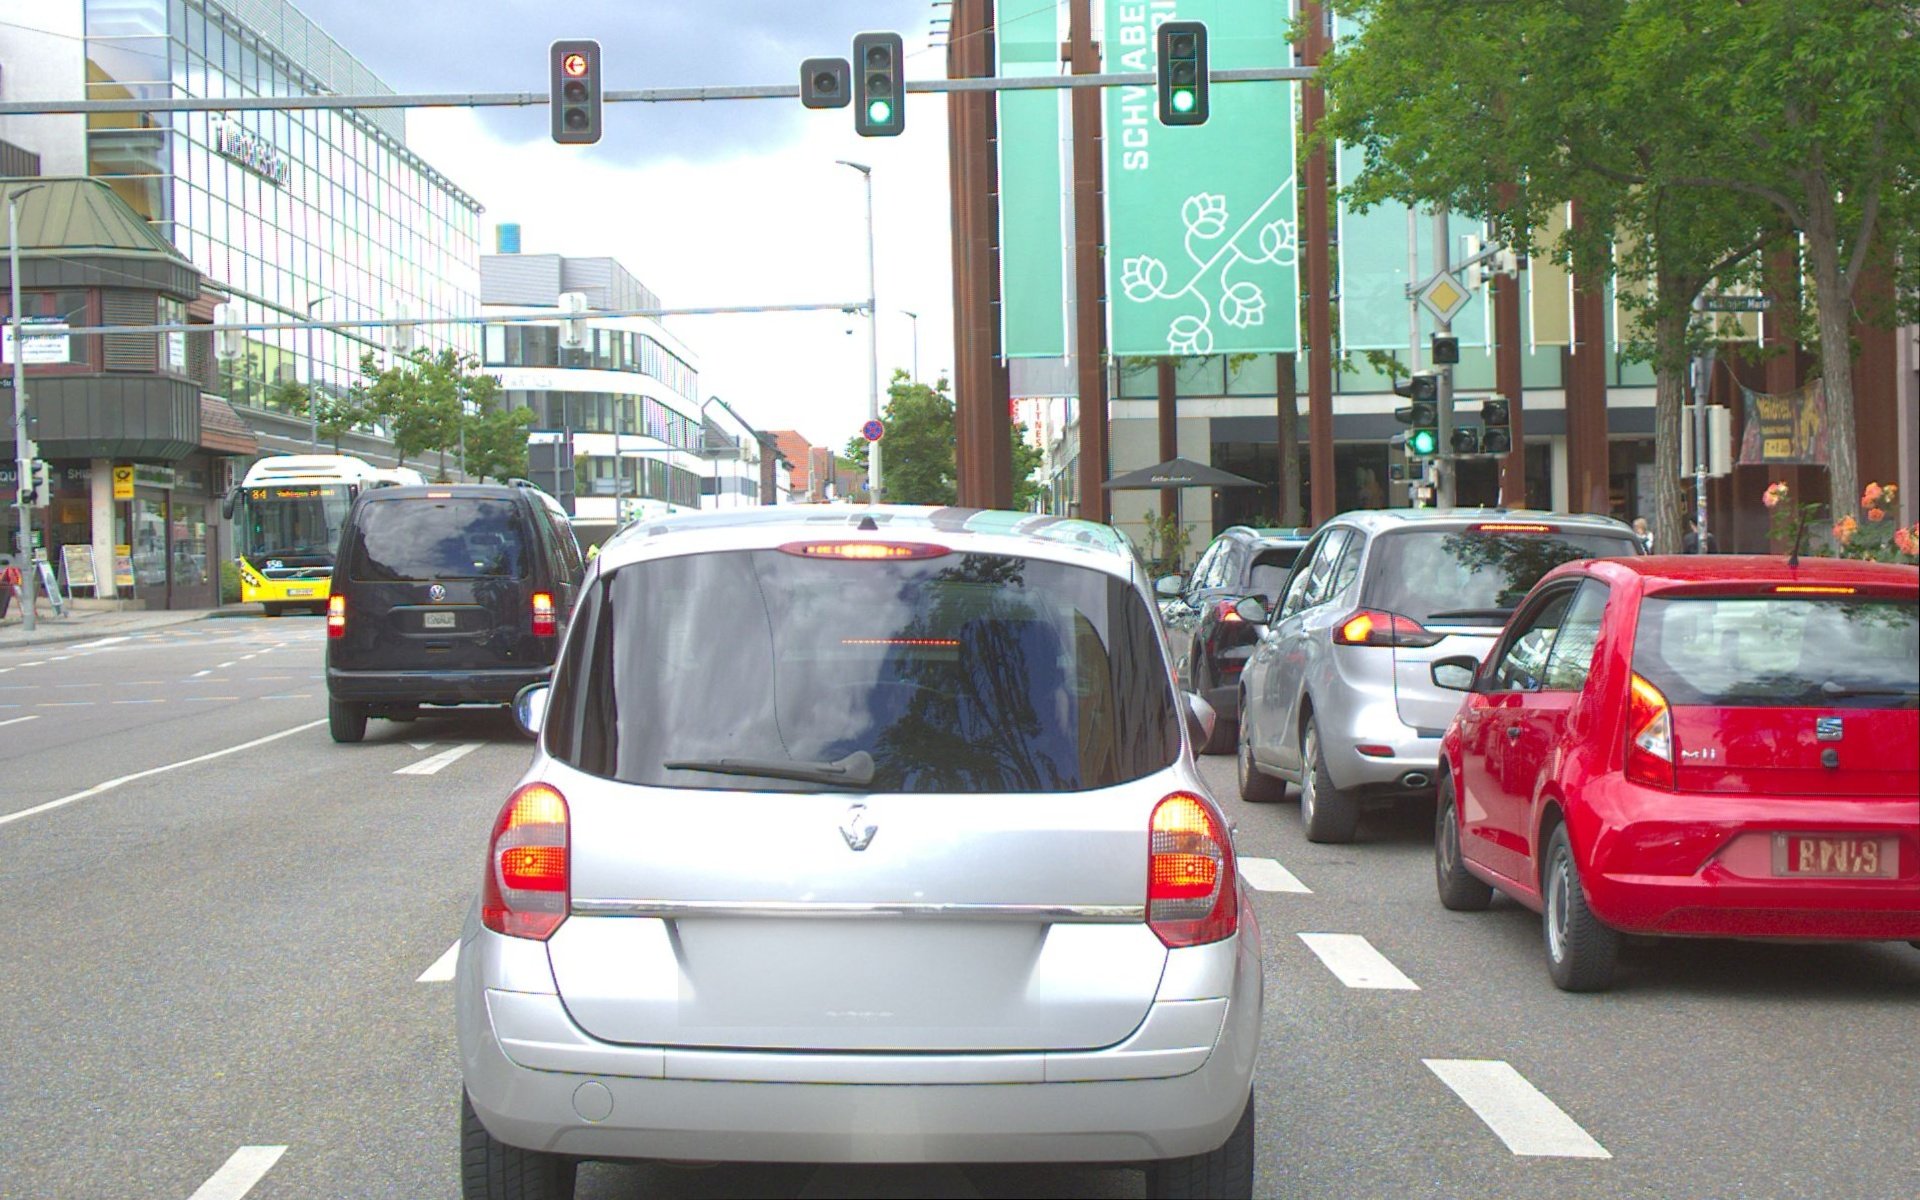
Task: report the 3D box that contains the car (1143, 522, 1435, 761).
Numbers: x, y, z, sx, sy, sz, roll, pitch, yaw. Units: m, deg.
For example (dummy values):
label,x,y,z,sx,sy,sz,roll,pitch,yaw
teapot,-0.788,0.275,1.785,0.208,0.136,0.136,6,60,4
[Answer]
label,x,y,z,sx,sy,sz,roll,pitch,yaw
car,2.331,0.246,25.208,1.586,1.589,3.868,1,1,-2

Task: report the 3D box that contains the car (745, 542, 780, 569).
label,x,y,z,sx,sy,sz,roll,pitch,yaw
car,-11.737,-2.659,204.389,1.801,1.535,4.065,0,1,1

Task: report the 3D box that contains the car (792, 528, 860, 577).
label,x,y,z,sx,sy,sz,roll,pitch,yaw
car,-4.626,-1.656,119.243,1.917,1.671,4.242,0,1,4

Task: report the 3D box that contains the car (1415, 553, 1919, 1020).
label,x,y,z,sx,sy,sz,roll,pitch,yaw
car,2.712,0.574,12.567,1.586,1.438,3.348,1,1,-1

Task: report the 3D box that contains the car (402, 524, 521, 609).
label,x,y,z,sx,sy,sz,roll,pitch,yaw
car,-10.363,-0.728,71.755,1.993,1.700,4.065,-1,1,-2

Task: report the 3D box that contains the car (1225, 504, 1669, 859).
label,x,y,z,sx,sy,sz,roll,pitch,yaw
car,2.422,0.344,17.990,1.586,1.628,3.917,1,1,-2

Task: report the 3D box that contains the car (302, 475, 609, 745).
label,x,y,z,sx,sy,sz,roll,pitch,yaw
car,-3.715,0.023,26.034,1.744,1.849,4.634,1,1,-2

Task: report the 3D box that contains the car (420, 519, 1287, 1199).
label,x,y,z,sx,sy,sz,roll,pitch,yaw
car,-0.230,0.577,8.234,1.640,1.522,3.394,0,1,-1

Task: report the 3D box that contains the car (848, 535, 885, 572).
label,x,y,z,sx,sy,sz,roll,pitch,yaw
car,-5.145,-2.562,188.240,1.993,1.942,4.951,-1,1,-2

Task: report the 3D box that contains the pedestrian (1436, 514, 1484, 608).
label,x,y,z,sx,sy,sz,roll,pitch,yaw
pedestrian,8.832,-0.698,60.735,0.651,1.645,0.559,-1,1,-15

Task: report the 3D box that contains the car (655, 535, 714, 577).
label,x,y,z,sx,sy,sz,roll,pitch,yaw
car,-10.223,-1.644,127.812,1.801,1.535,4.065,0,1,1

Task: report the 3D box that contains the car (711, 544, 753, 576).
label,x,y,z,sx,sy,sz,roll,pitch,yaw
car,-11.544,-2.037,174.161,1.801,1.535,4.065,0,1,1

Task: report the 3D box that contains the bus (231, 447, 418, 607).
label,x,y,z,sx,sy,sz,roll,pitch,yaw
bus,-13.696,-1.584,74.736,2.686,3.250,8.654,-1,1,-2
